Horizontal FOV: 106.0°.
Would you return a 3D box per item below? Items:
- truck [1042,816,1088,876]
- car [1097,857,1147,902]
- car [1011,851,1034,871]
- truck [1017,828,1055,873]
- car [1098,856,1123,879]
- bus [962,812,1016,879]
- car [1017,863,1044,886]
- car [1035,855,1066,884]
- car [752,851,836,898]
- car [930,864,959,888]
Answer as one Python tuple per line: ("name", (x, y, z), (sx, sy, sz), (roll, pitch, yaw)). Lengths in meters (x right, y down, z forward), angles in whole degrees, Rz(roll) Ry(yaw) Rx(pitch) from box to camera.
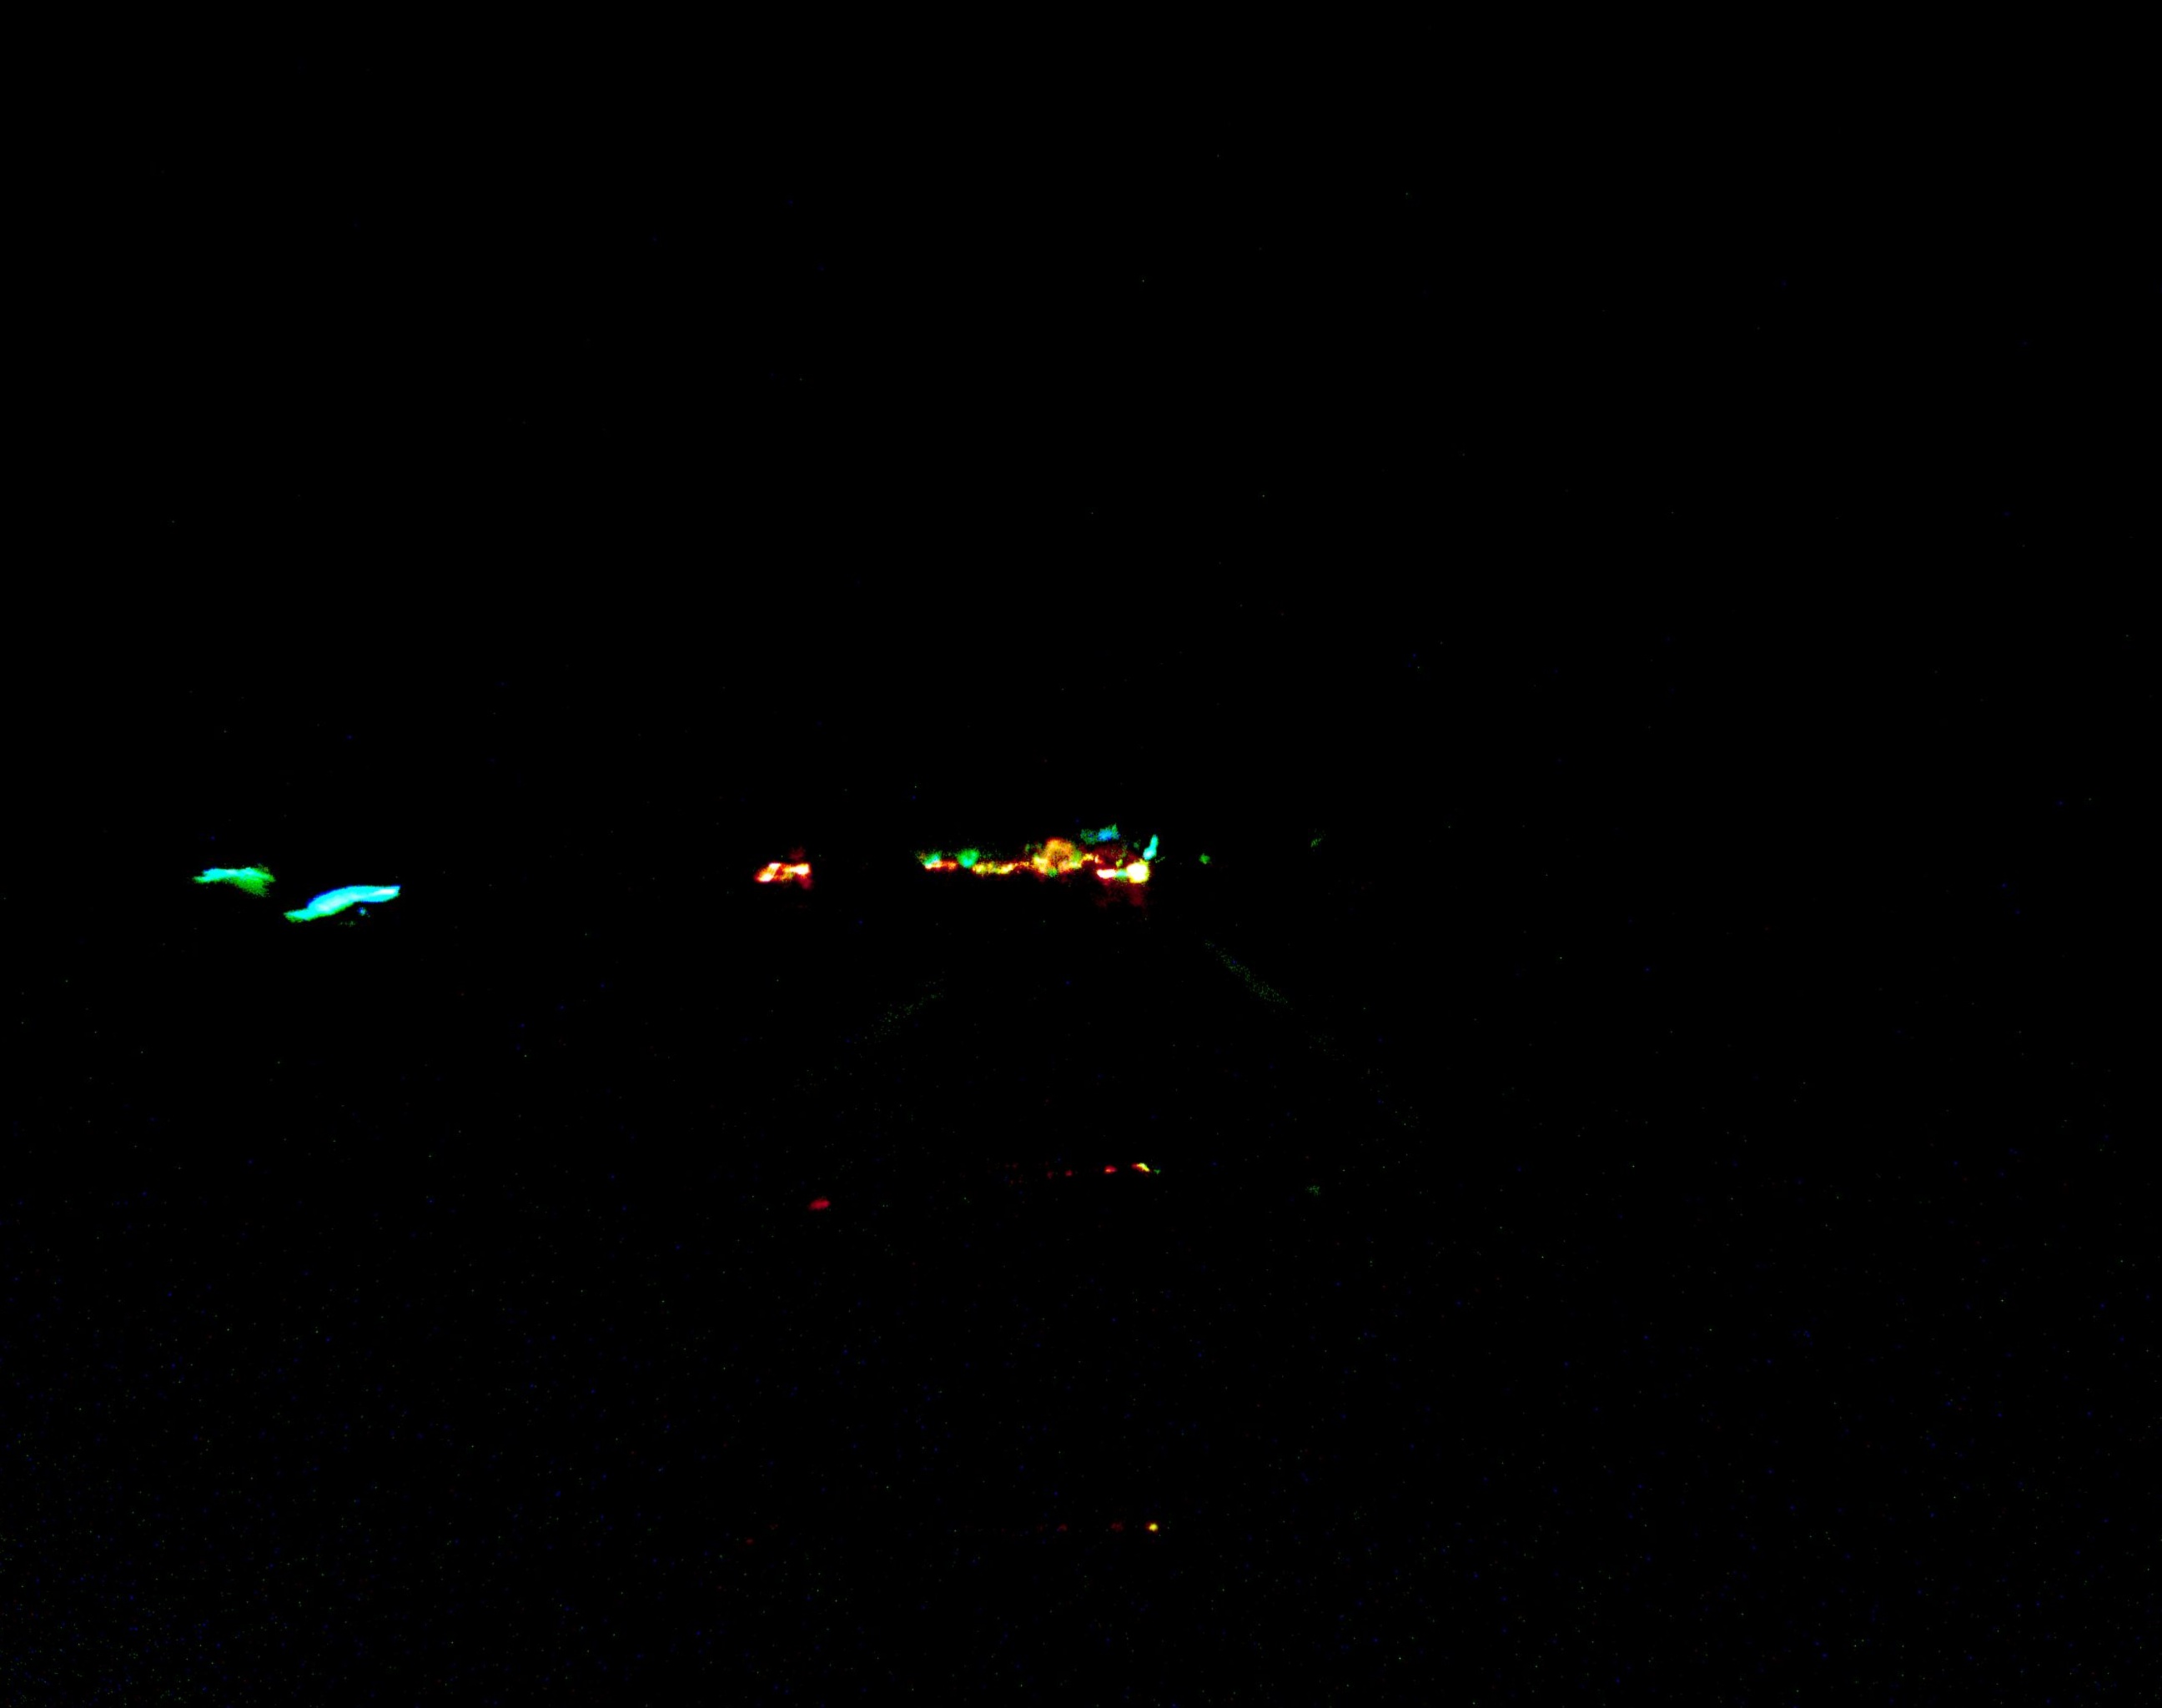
("truck", (-1.470, -0.676, 82.239), (4.195, 5.648, 11.468), (0, -1, 1))
("car", (1.672, 1.035, 34.409), (1.986, 1.807, 4.001), (0, -1, 1))
("car", (-5.629, 0.672, 78.389), (1.988, 1.807, 3.997), (0, -1, -2))
("truck", (-5.914, -0.422, 109.143), (4.195, 5.648, 11.468), (0, -1, 1))
("car", (2.711, 1.217, 75.287), (2.119, 2.014, 4.643), (0, -1, -1))
("bus", (-6.624, -0.515, 60.268), (3.089, 4.508, 10.904), (0, -1, -2))
("car", (-4.045, 1.618, 65.848), (1.988, 1.807, 3.997), (0, -1, -2))
("car", (-2.159, 1.101, 58.639), (2.119, 2.014, 4.643), (0, -1, -1))
("car", (-10.534, 0.716, 30.180), (1.990, 1.596, 3.993), (0, -1, -5))
("car", (-10.077, 1.591, 60.268), (1.690, 1.650, 3.836), (0, -1, -3))
